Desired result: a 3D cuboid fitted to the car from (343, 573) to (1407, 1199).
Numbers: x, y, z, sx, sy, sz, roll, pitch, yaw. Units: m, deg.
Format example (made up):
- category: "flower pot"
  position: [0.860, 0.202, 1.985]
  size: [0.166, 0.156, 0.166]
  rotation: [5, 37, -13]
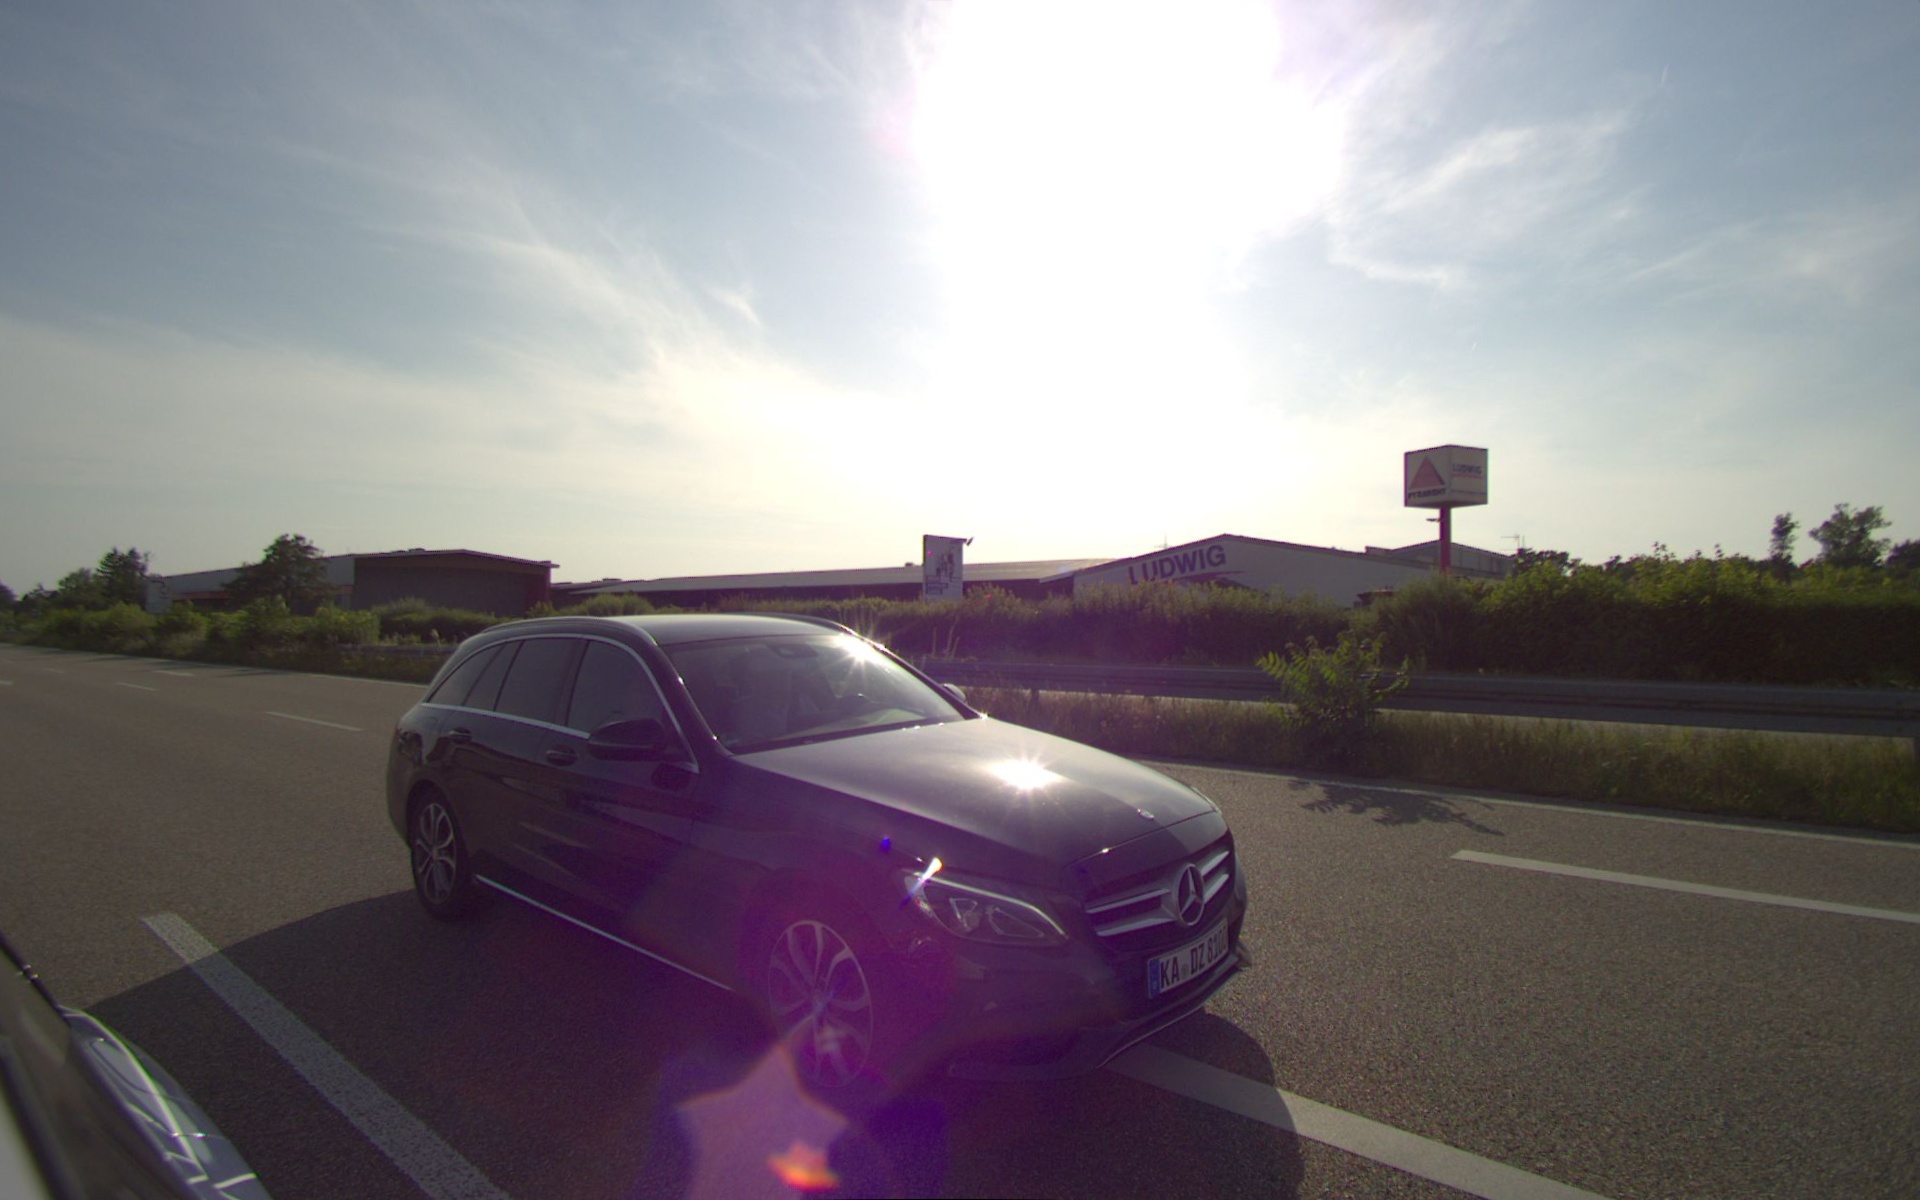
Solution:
- category: "car"
  position: [-0.938, 0.730, 4.377]
  size: [5.020, 1.482, 1.556]
  rotation: [-1, -1, 42]
